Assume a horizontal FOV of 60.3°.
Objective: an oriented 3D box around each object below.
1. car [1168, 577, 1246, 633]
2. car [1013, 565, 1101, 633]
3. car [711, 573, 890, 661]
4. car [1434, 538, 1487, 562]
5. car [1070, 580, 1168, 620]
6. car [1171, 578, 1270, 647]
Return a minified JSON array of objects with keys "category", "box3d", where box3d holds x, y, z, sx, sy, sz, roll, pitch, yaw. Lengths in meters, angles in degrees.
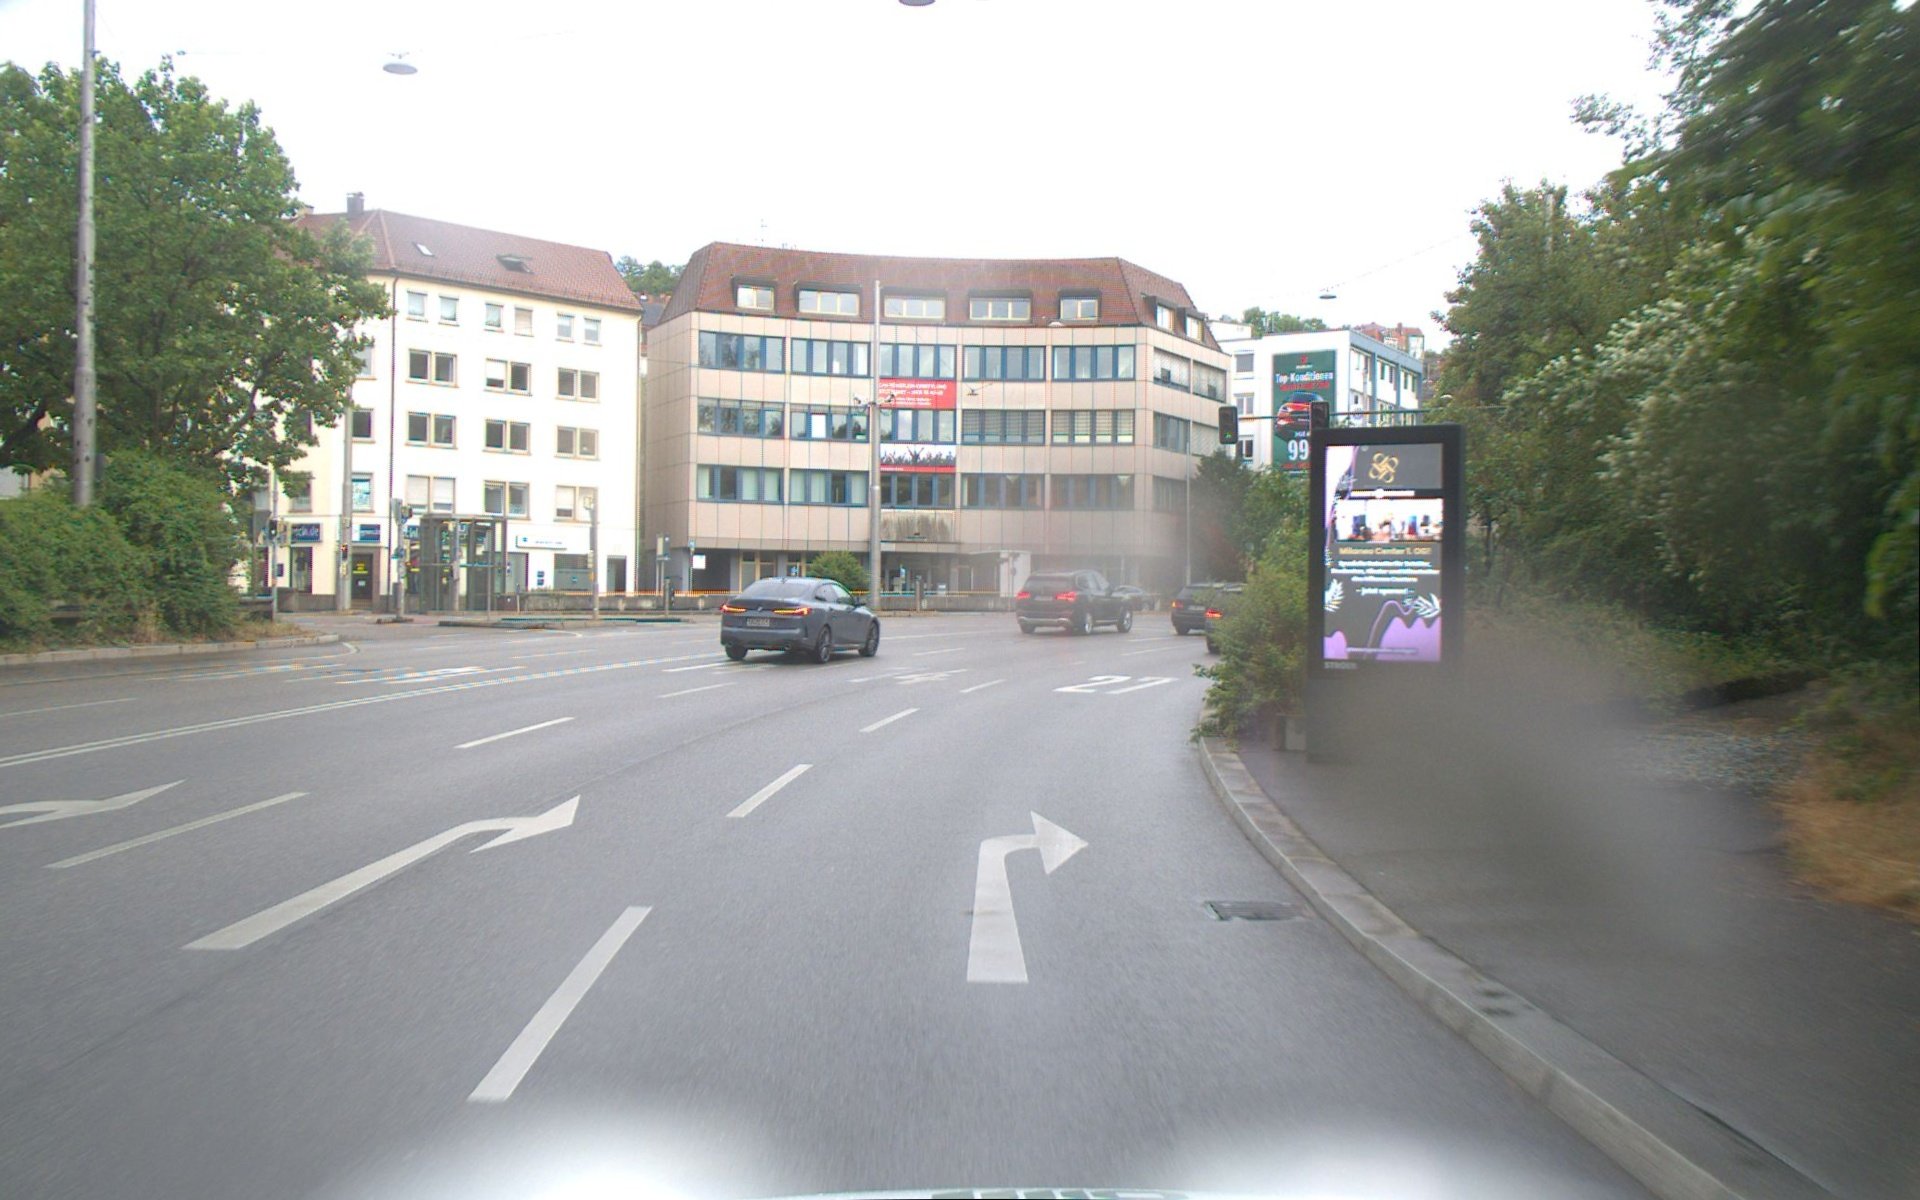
[{"category":"car","box3d":[6.900,0.102,45.885,1.753,1.450,4.617,1,1,13]},{"category":"car","box3d":[2.607,-0.007,43.648,1.859,1.723,4.003,0,0,10]},{"category":"car","box3d":[-2.750,0.301,29.613,1.752,1.451,4.387,0,0,15]},{"category":"car","box3d":[45.655,-4.561,150.891,4.332,2.041,1.997,0,-1,28]},{"category":"car","box3d":[7.605,0.002,78.864,4.383,1.875,1.978,0,-1,-32]},{"category":"car","box3d":[5.902,0.274,37.144,1.916,1.451,4.128,0,0,13]}]
